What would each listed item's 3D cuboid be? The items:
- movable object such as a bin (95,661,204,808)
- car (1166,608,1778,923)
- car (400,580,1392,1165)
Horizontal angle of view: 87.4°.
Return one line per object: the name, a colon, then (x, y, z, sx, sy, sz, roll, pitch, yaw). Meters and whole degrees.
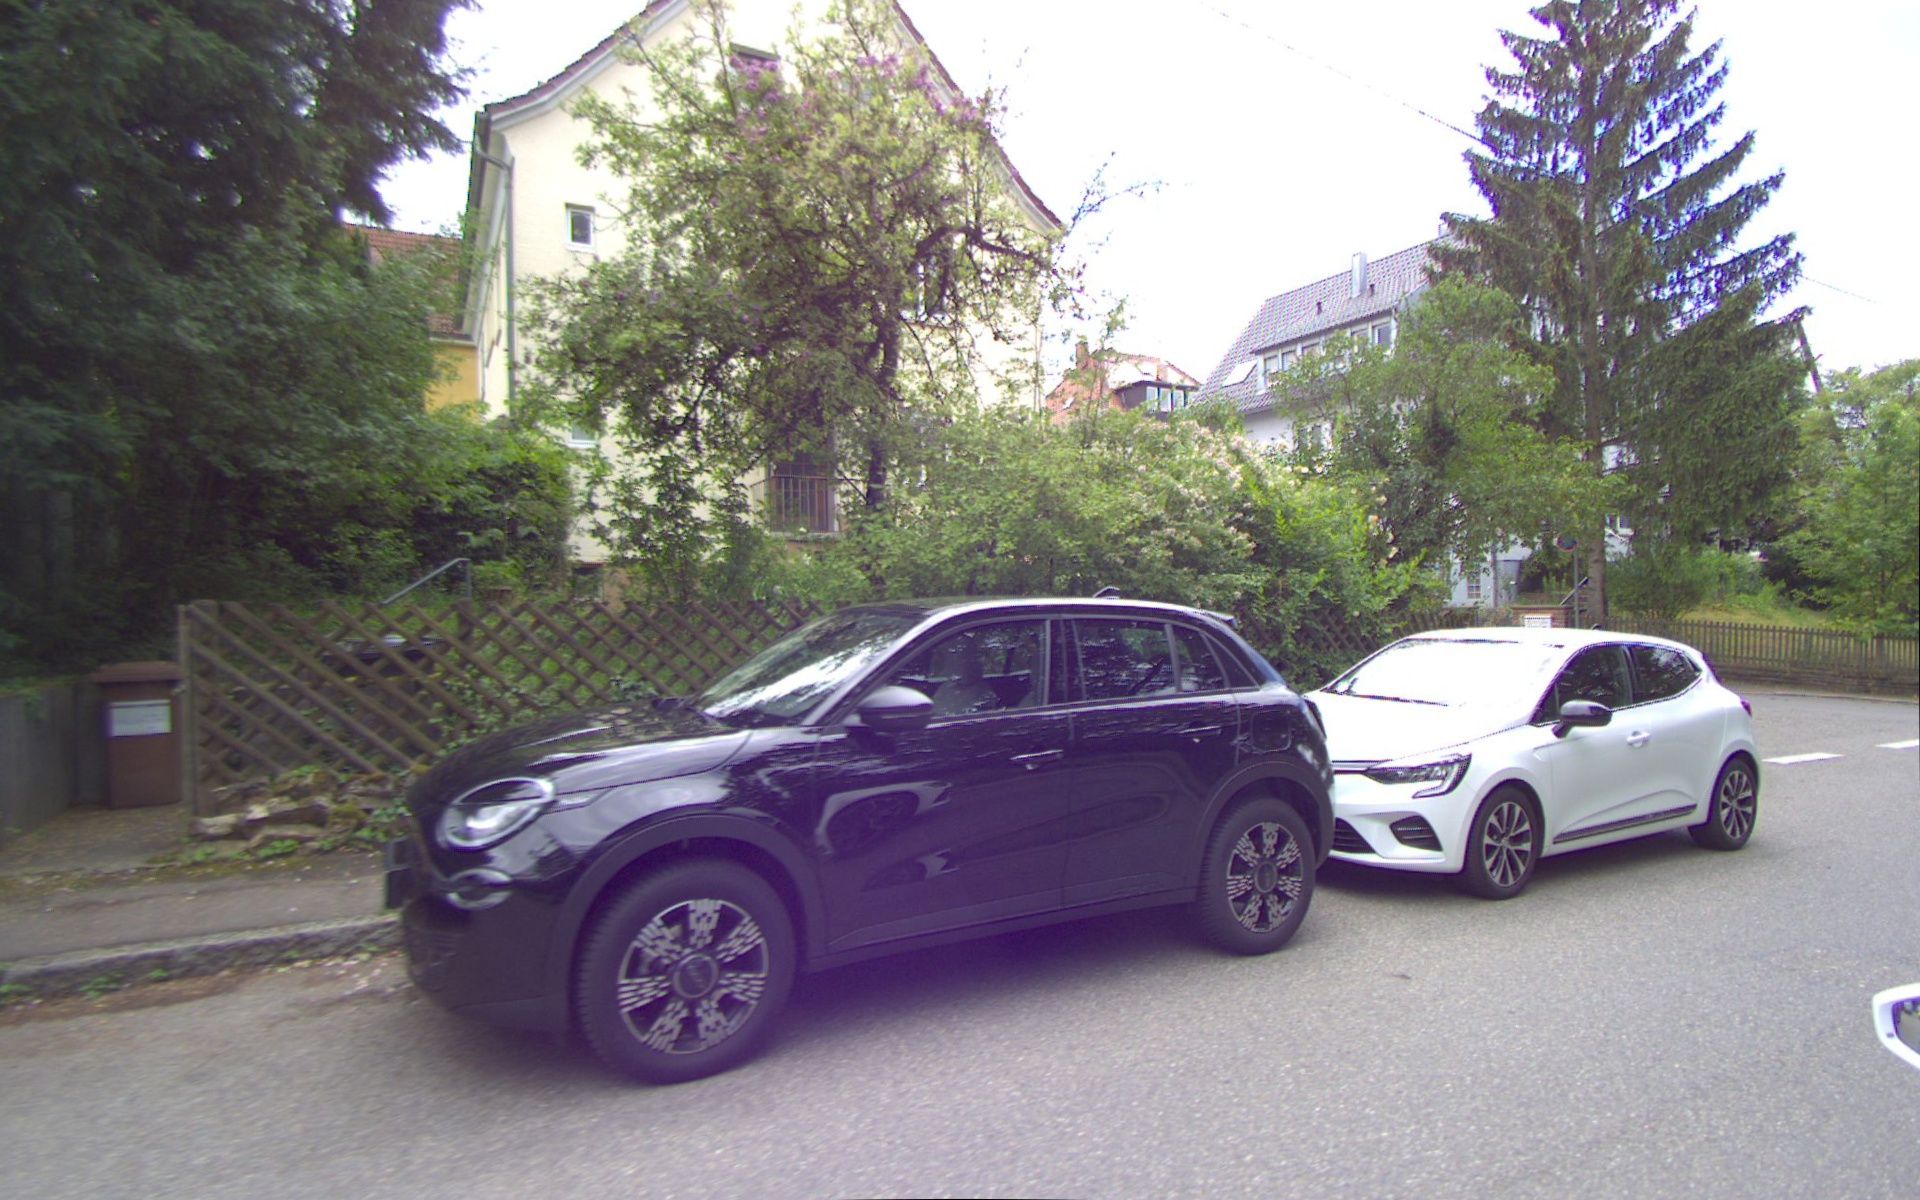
movable object such as a bin: (-5.398, 0.869, 6.713, 0.450, 0.870, 0.601, -1, 2, -30)
car: (3.477, 0.849, 6.677, 3.967, 1.520, 1.775, 1, -1, -30)
car: (-0.162, 0.745, 4.394, 3.967, 1.520, 1.775, 1, -1, -30)
